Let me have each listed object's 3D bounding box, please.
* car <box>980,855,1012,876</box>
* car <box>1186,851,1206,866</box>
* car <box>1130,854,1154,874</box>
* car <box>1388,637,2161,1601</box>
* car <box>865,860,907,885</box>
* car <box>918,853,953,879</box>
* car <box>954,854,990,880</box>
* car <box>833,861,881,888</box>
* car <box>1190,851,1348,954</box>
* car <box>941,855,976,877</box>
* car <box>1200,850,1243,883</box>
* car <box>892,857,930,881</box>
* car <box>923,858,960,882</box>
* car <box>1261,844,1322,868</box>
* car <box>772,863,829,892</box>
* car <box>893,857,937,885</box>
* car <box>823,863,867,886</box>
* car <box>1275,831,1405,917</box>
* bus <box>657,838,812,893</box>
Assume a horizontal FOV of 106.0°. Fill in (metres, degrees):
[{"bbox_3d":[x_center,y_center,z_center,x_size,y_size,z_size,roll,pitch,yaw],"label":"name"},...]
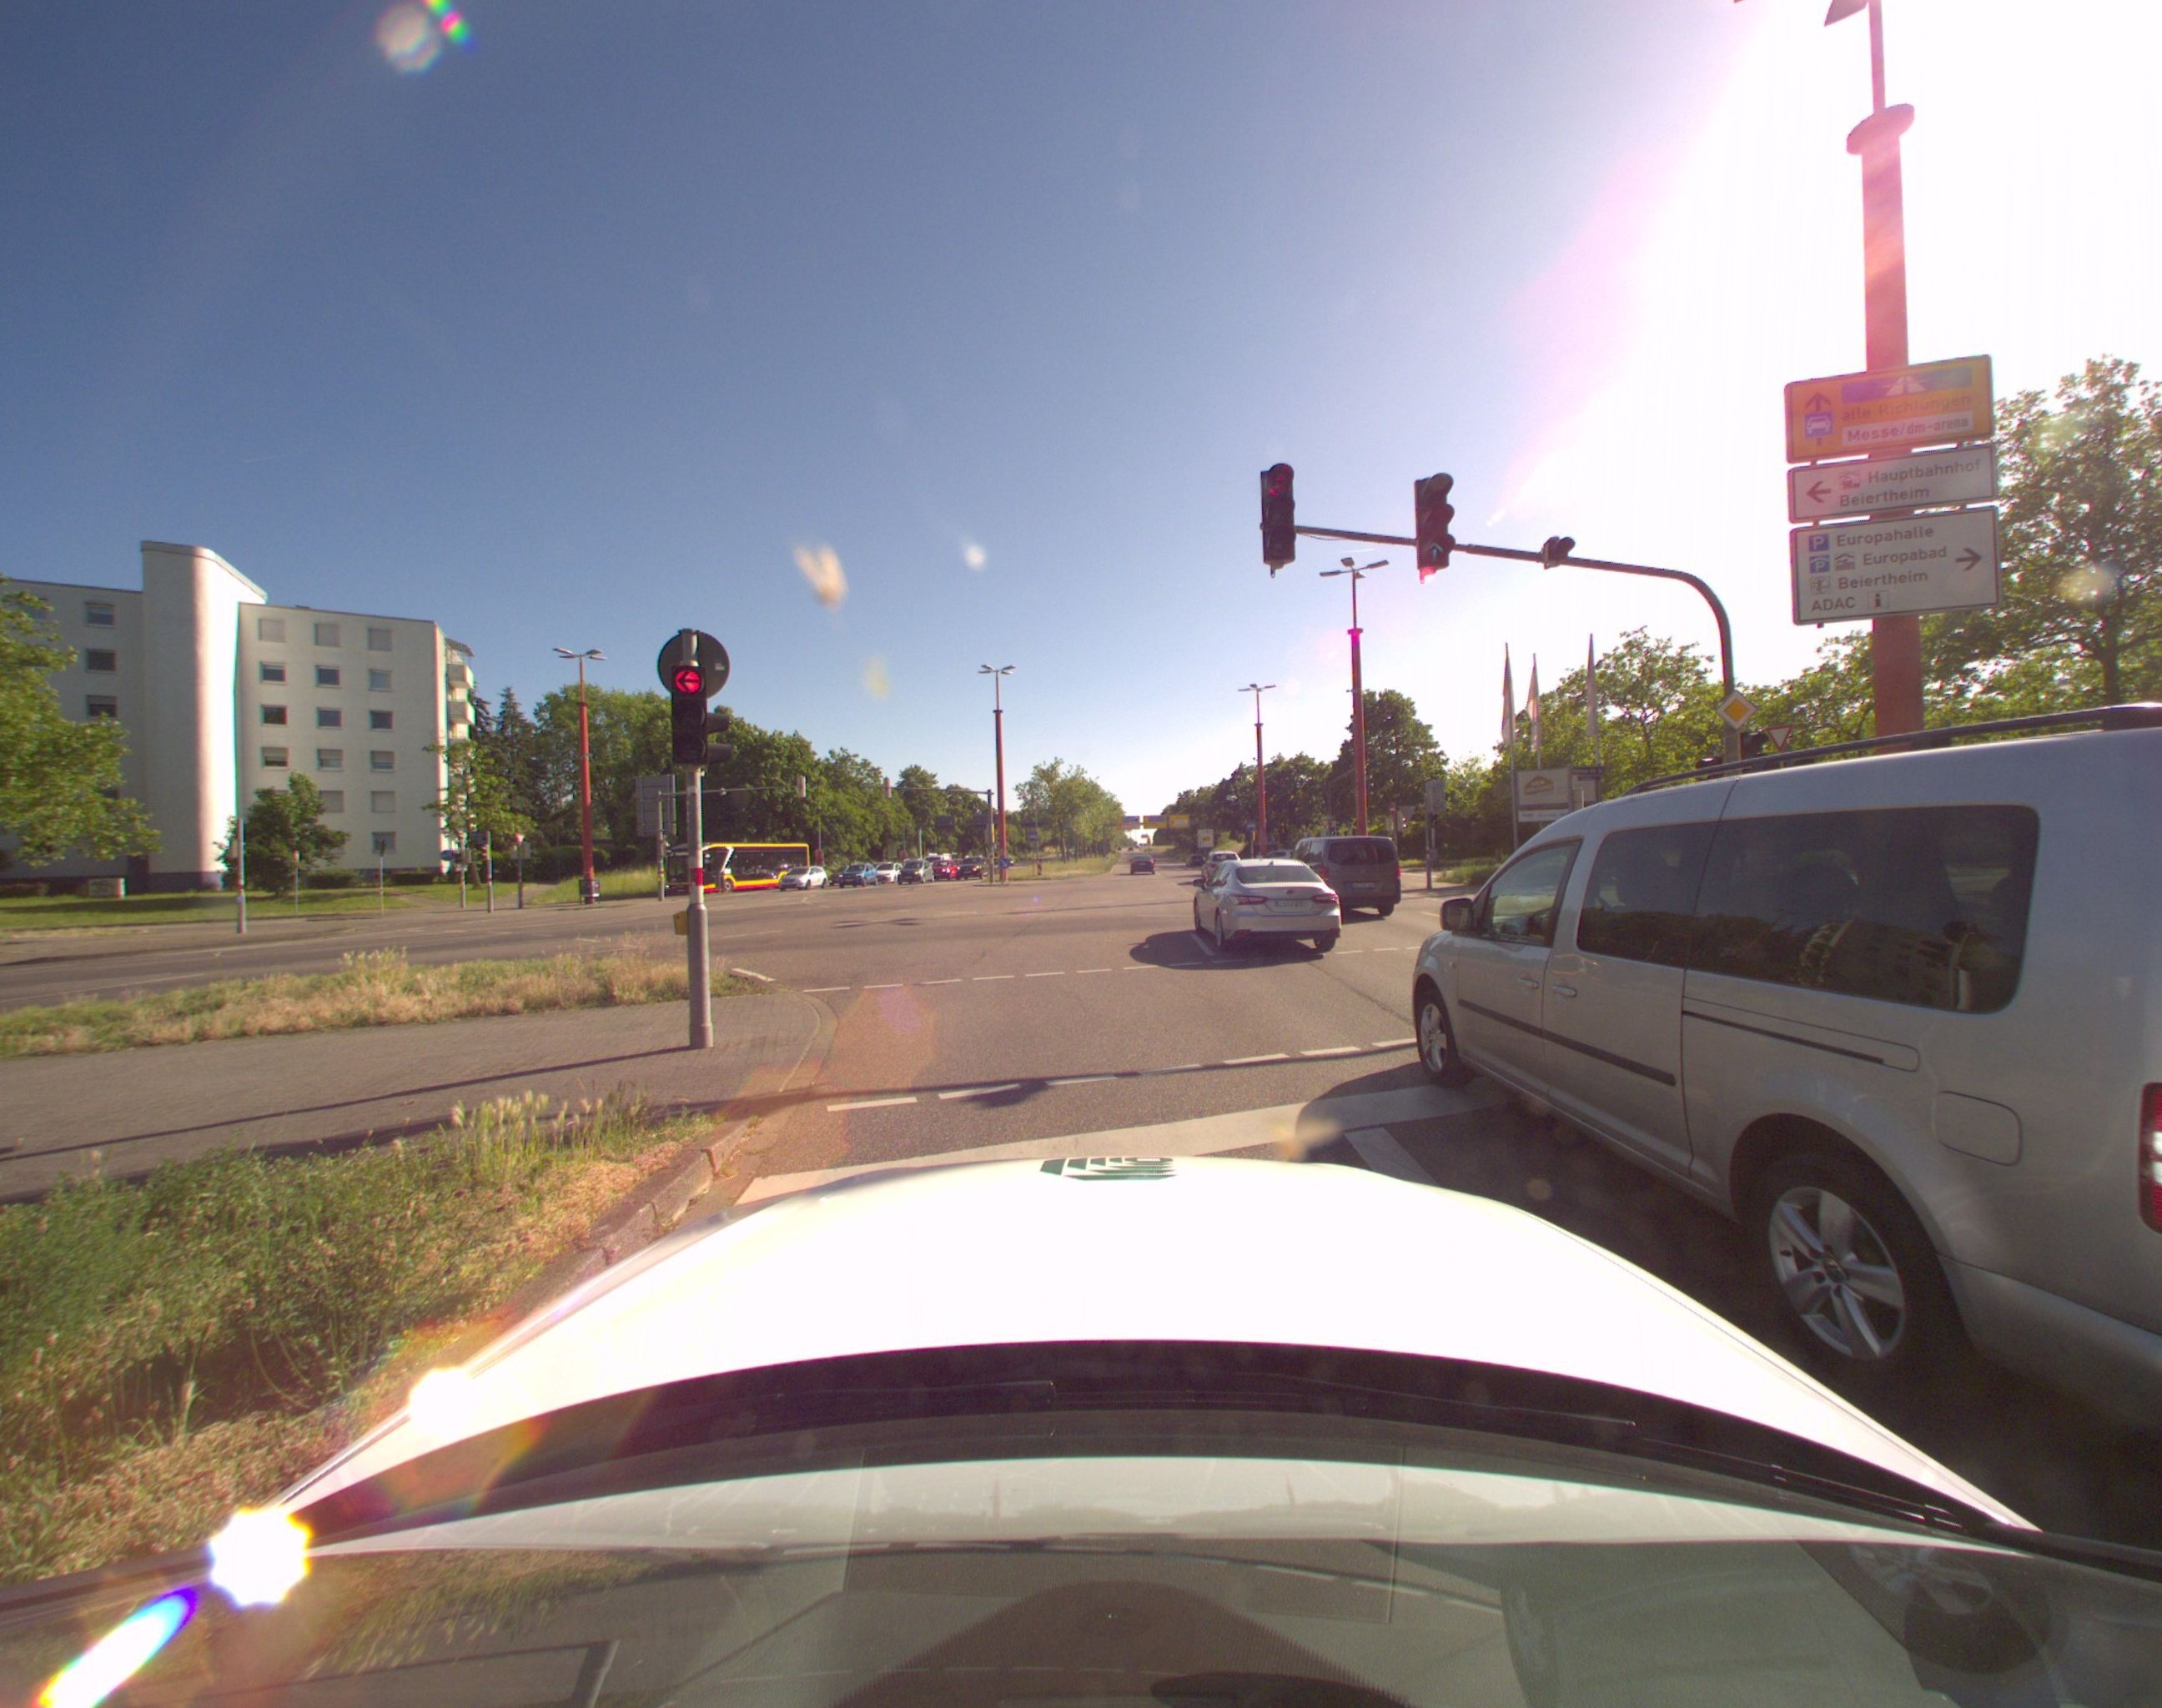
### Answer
[{"bbox_3d":[-6.676,0.860,64.171,1.878,1.543,4.002,-3,0,2],"label":"car"},{"bbox_3d":[12.809,0.503,91.127,1.757,1.635,4.299,0,-1,1],"label":"car"},{"bbox_3d":[4.572,0.726,61.362,1.756,1.441,4.299,0,0,4],"label":"car"},{"bbox_3d":[3.060,0.506,3.709,1.797,1.821,4.590,-1,-1,3],"label":"car"},{"bbox_3d":[-13.772,1.284,57.766,1.895,1.555,4.000,-3,0,0],"label":"car"},{"bbox_3d":[-12.721,0.996,71.305,1.954,2.155,5.083,-2,0,1],"label":"car"},{"bbox_3d":[-7.526,0.855,56.706,1.787,1.626,4.144,-3,0,1],"label":"car"},{"bbox_3d":[-14.135,1.283,51.620,1.794,1.515,3.861,-3,0,2],"label":"car"},{"bbox_3d":[3.074,0.732,14.294,1.798,1.493,4.683,0,0,1],"label":"car"},{"bbox_3d":[-9.745,0.930,65.025,1.893,1.630,4.003,-1,0,3],"label":"car"},{"bbox_3d":[7.259,0.626,42.416,1.709,1.608,3.849,0,-1,2],"label":"car"},{"bbox_3d":[-13.357,1.140,64.254,1.866,1.784,4.004,-2,0,3],"label":"car"},{"bbox_3d":[-10.065,1.122,59.028,1.869,1.552,4.000,-5,0,0],"label":"car"},{"bbox_3d":[15.823,0.167,61.378,1.778,1.635,4.249,-2,0,-38],"label":"car"},{"bbox_3d":[-17.642,1.420,51.421,1.869,1.652,4.222,-3,-1,3],"label":"car"},{"bbox_3d":[-10.694,1.076,52.700,1.867,1.550,4.029,-3,0,2],"label":"car"},{"bbox_3d":[-17.556,1.499,60.683,1.877,1.513,4.003,-3,0,3],"label":"car"},{"bbox_3d":[6.389,0.448,20.718,1.797,1.852,5.106,-2,0,2],"label":"car"},{"bbox_3d":[-22.818,0.755,54.893,2.627,3.261,12.580,-1,-1,13],"label":"bus"}]
